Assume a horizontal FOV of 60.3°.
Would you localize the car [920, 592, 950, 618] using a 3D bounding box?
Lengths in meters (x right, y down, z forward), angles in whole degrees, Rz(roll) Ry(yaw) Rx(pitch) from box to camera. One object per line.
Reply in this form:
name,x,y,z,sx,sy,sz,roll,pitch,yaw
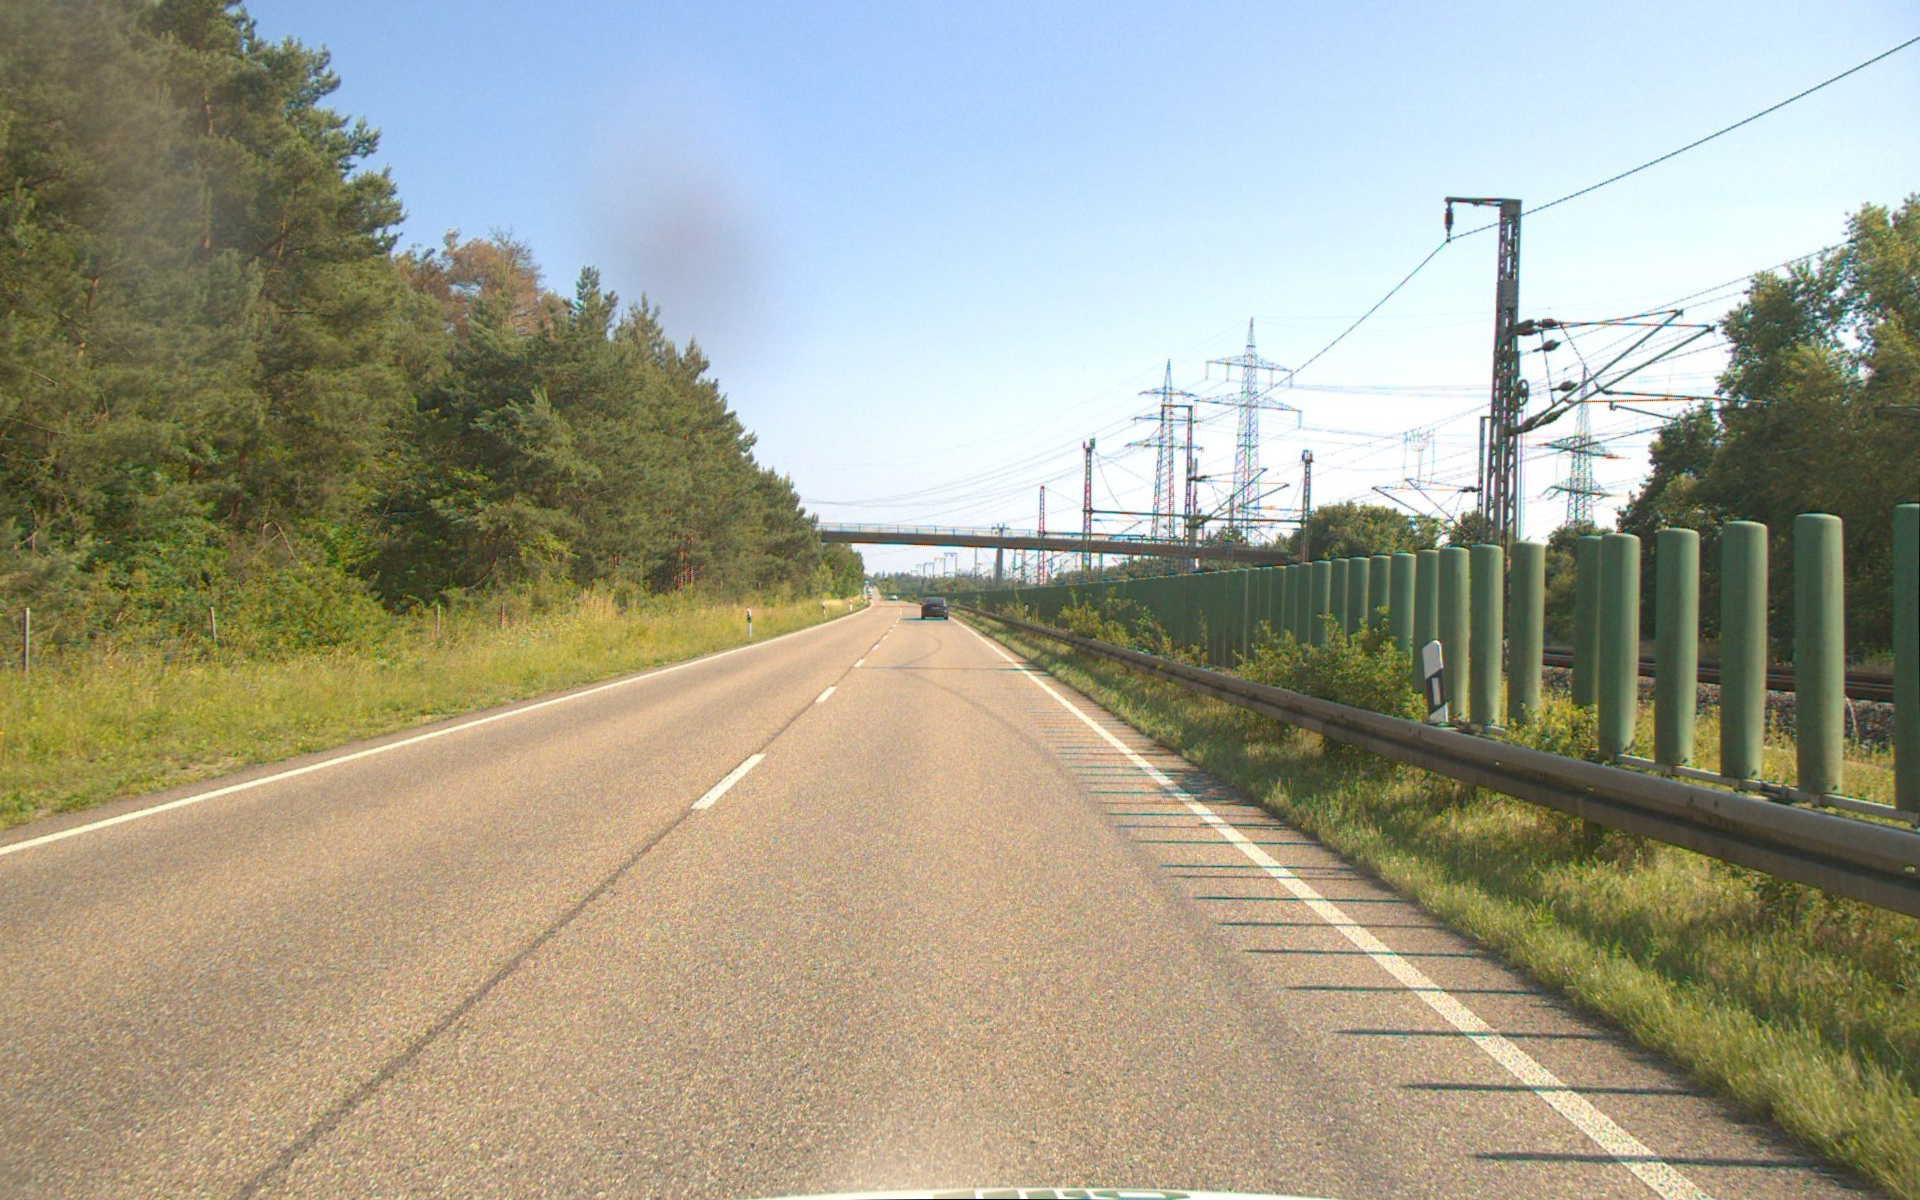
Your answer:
car,-1.679,0.322,109.602,1.822,1.670,3.998,0,0,-3
